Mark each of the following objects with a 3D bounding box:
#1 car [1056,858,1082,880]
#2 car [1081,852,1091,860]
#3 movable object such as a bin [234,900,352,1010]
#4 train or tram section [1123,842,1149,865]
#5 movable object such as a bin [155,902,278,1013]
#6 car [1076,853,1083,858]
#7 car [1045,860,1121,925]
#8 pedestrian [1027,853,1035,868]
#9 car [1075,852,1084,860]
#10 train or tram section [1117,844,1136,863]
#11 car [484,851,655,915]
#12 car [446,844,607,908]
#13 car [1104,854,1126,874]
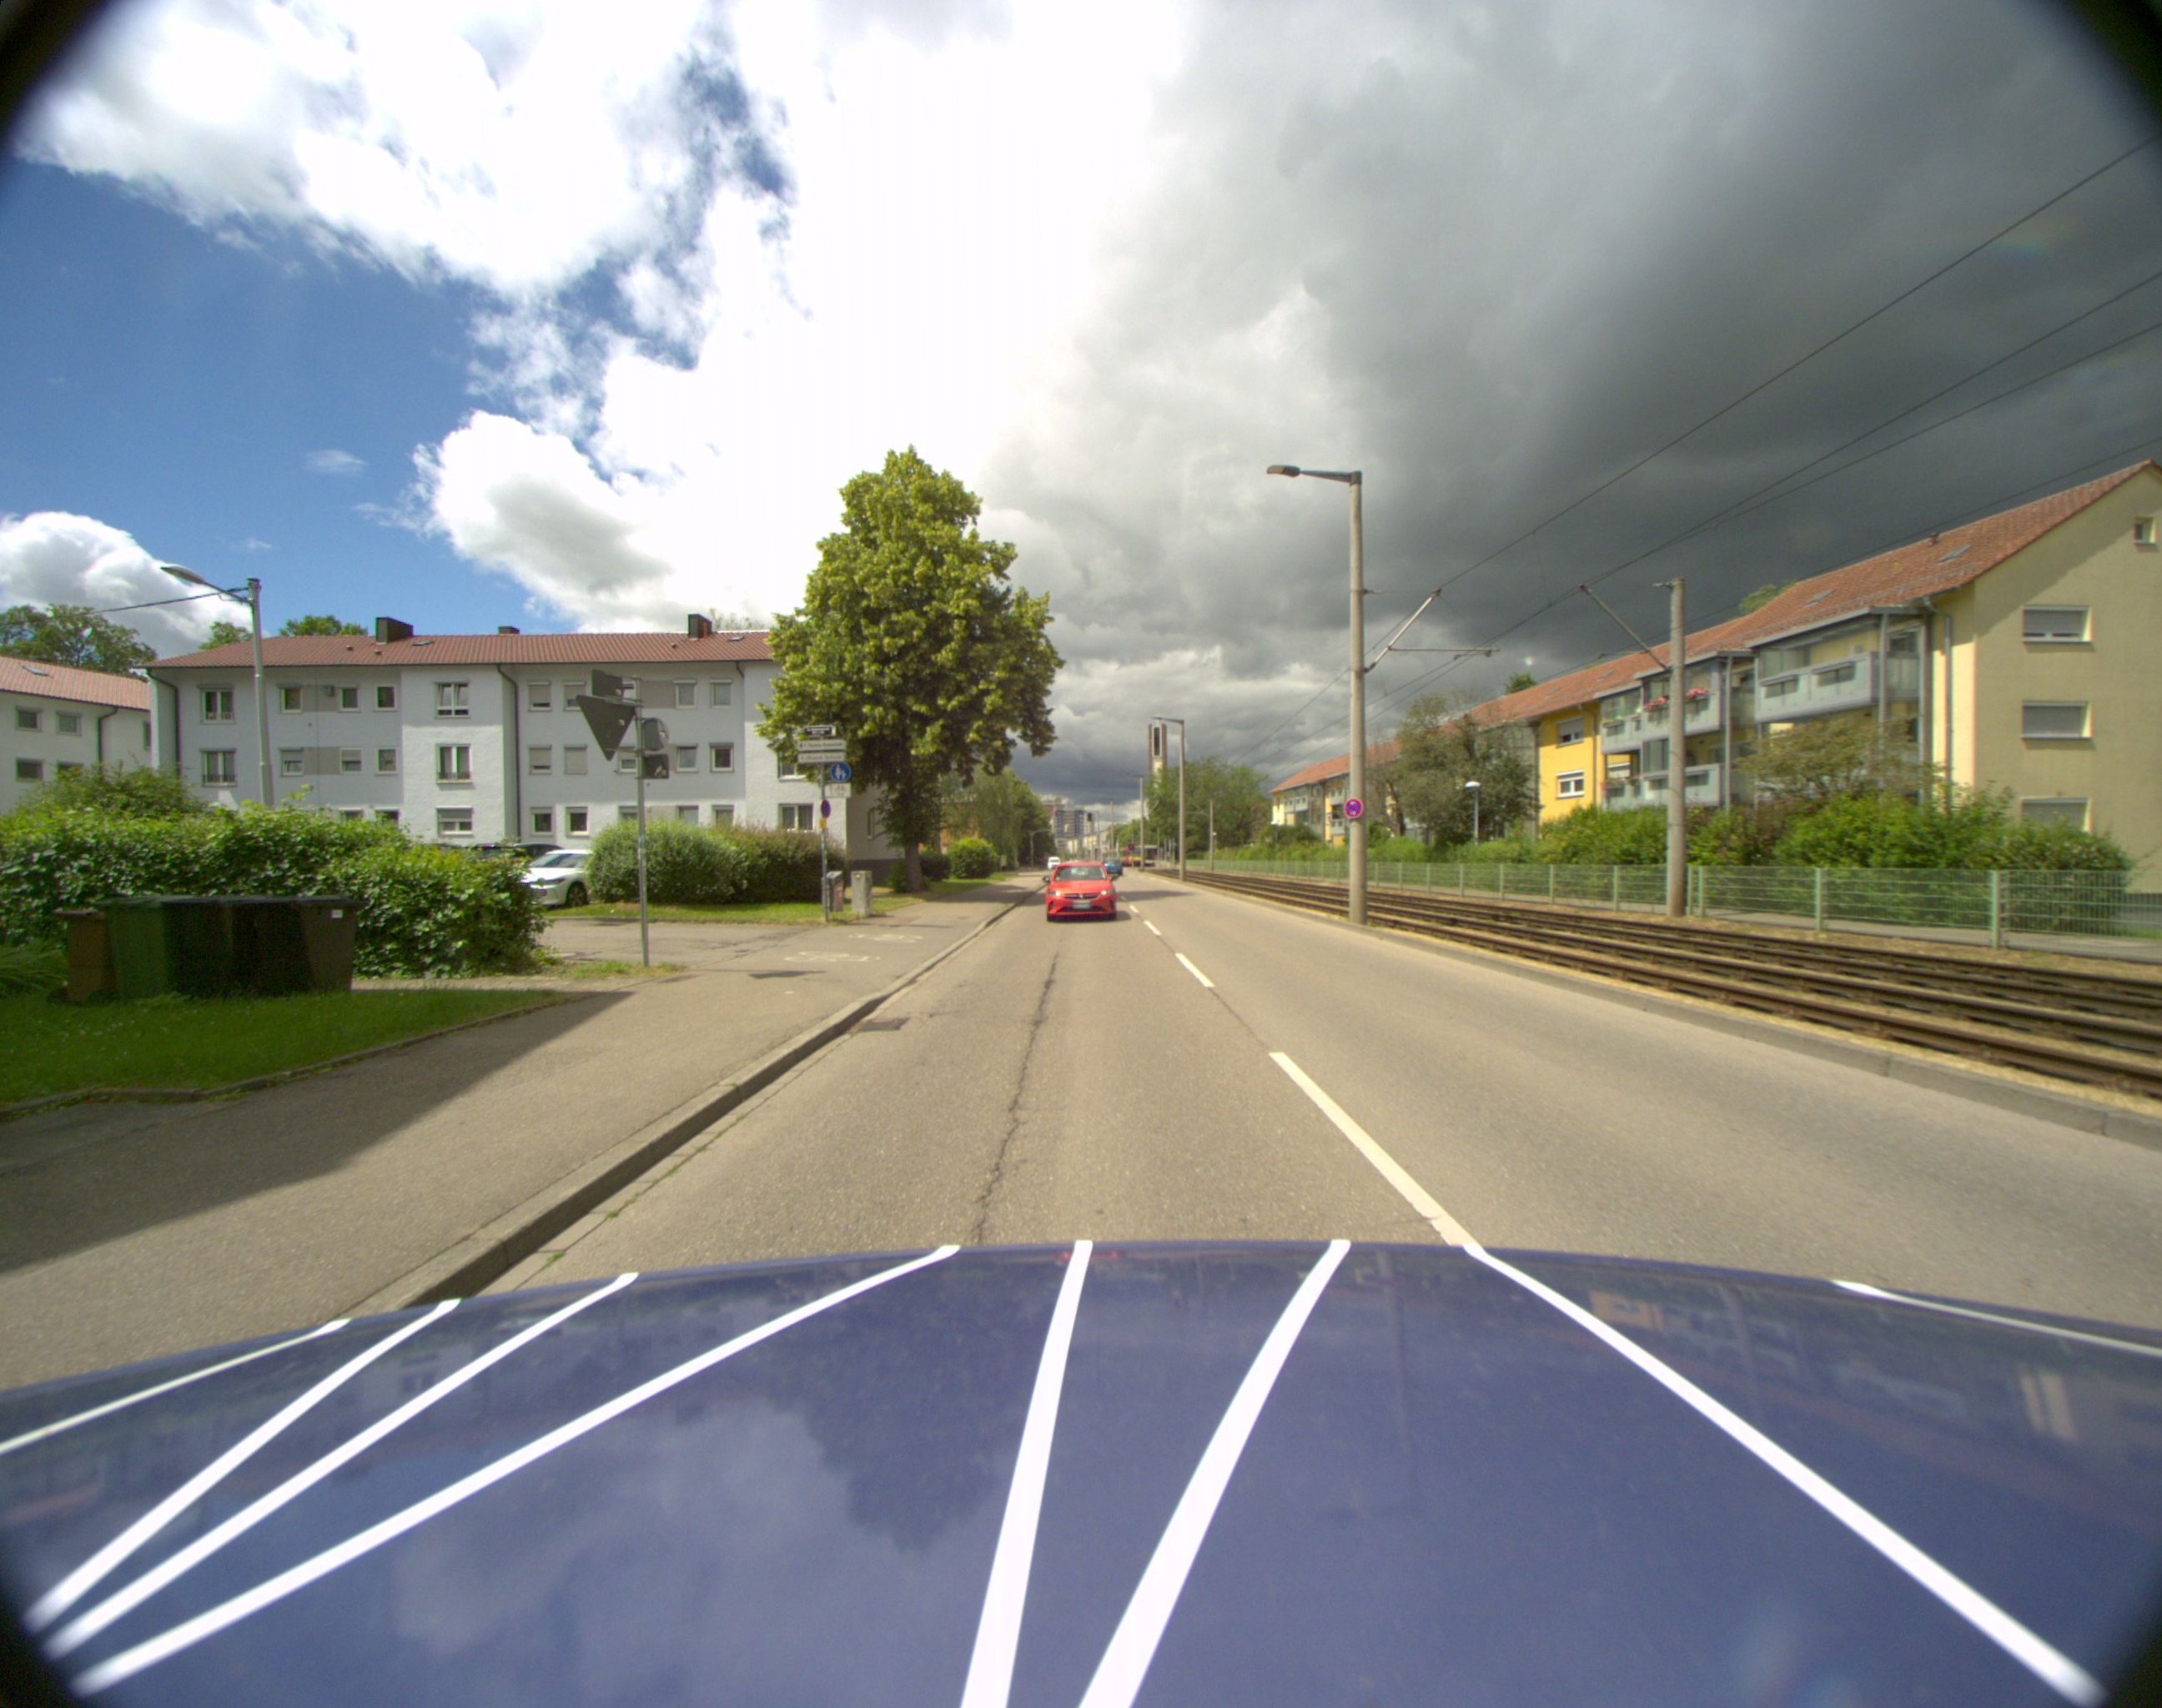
[{"bbox_3d":[-0.858,1.059,55.302,1.756,1.433,4.226,-1,0,0],"label":"car"},{"bbox_3d":[0.896,0.419,140.599,1.633,1.424,4.166,-2,0,-3],"label":"car"},{"bbox_3d":[-7.369,0.924,7.129,0.497,0.949,0.580,1,1,0],"label":"movable object such as a bin"},{"bbox_3d":[10.133,-0.144,141.500,2.988,3.840,18.535,-2,0,-1],"label":"train or tram section"},{"bbox_3d":[-7.931,0.934,6.989,0.501,0.941,0.551,1,1,0],"label":"movable object such as a bin"},{"bbox_3d":[-0.441,0.517,229.320,1.722,1.433,4.008,-1,0,-2],"label":"car"},{"bbox_3d":[0.059,0.928,19.925,1.756,1.433,4.226,-1,0,0],"label":"car"},{"bbox_3d":[-5.947,0.820,91.019,0.811,1.761,0.817,2,1,5],"label":"pedestrian"},{"bbox_3d":[-0.331,0.463,161.740,1.765,1.543,3.999,-2,0,-3],"label":"car"},{"bbox_3d":[9.614,-0.049,160.578,2.988,3.840,11.784,-2,0,-1],"label":"train or tram section"},{"bbox_3d":[-12.654,0.657,19.115,1.680,1.407,3.742,-2,0,0],"label":"car"},{"bbox_3d":[-15.332,0.565,21.266,1.680,1.559,3.742,-2,0,0],"label":"car"},{"bbox_3d":[2.778,0.807,63.280,1.628,1.516,3.581,-1,0,0],"label":"car"}]
